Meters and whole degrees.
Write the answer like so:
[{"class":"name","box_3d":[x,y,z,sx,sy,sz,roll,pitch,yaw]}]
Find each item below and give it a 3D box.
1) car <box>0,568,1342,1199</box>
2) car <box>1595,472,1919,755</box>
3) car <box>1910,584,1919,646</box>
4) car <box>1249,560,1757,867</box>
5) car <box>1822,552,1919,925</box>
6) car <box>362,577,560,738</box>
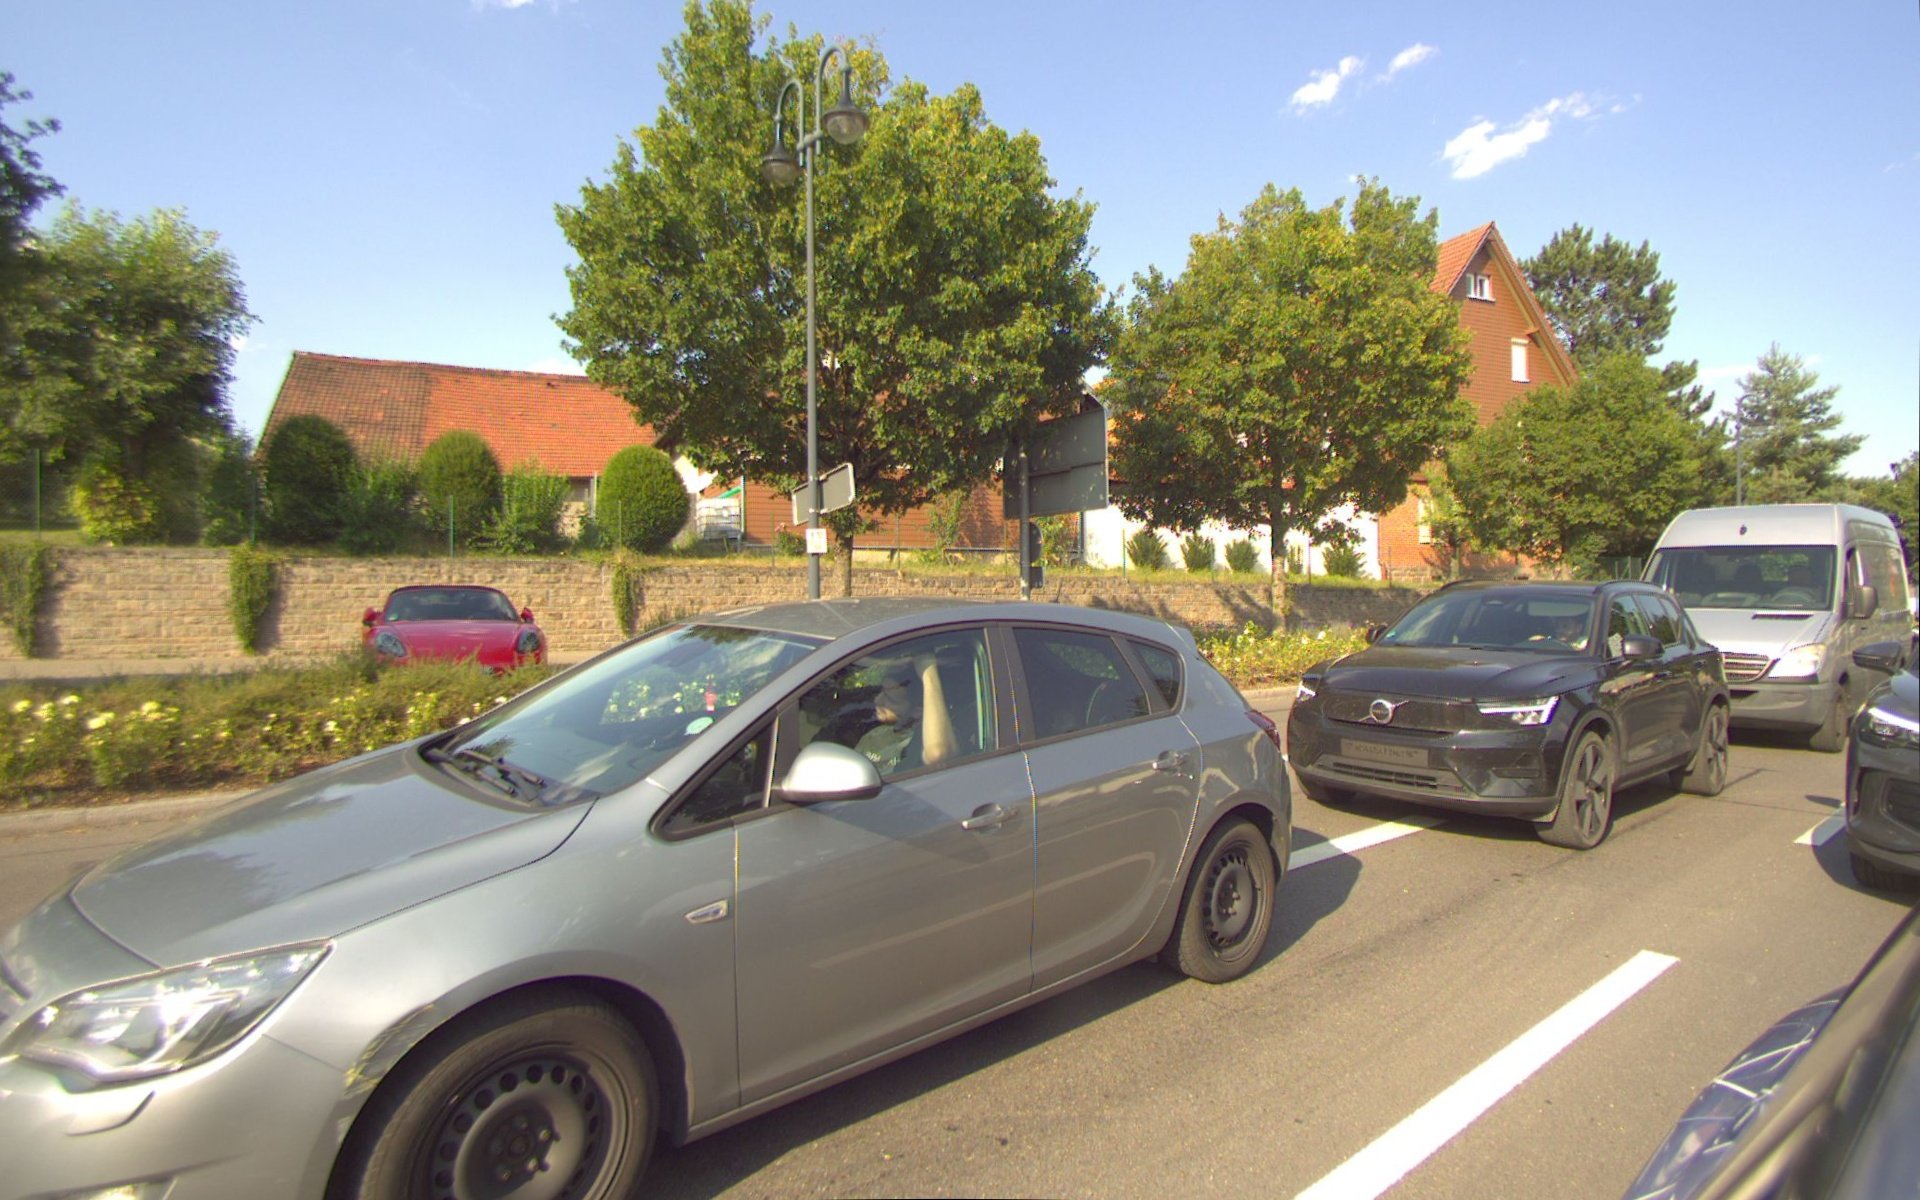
[{"class":"car","box_3d":[-0.561,0.666,3.519,4.244,1.471,1.765,0,2,-42]},{"class":"car","box_3d":[9.715,0.088,11.959,5.938,2.601,1.992,0,1,-40]},{"class":"car","box_3d":[27.140,0.408,27.201,4.242,1.629,1.844,0,2,-40]},{"class":"car","box_3d":[4.158,0.568,7.449,4.242,1.629,1.844,0,2,-40]},{"class":"car","box_3d":[6.211,0.619,5.334,4.242,1.629,1.844,0,2,-40]},{"class":"car","box_3d":[-5.899,0.527,11.710,1.743,1.510,4.156,0,0,-31]}]
